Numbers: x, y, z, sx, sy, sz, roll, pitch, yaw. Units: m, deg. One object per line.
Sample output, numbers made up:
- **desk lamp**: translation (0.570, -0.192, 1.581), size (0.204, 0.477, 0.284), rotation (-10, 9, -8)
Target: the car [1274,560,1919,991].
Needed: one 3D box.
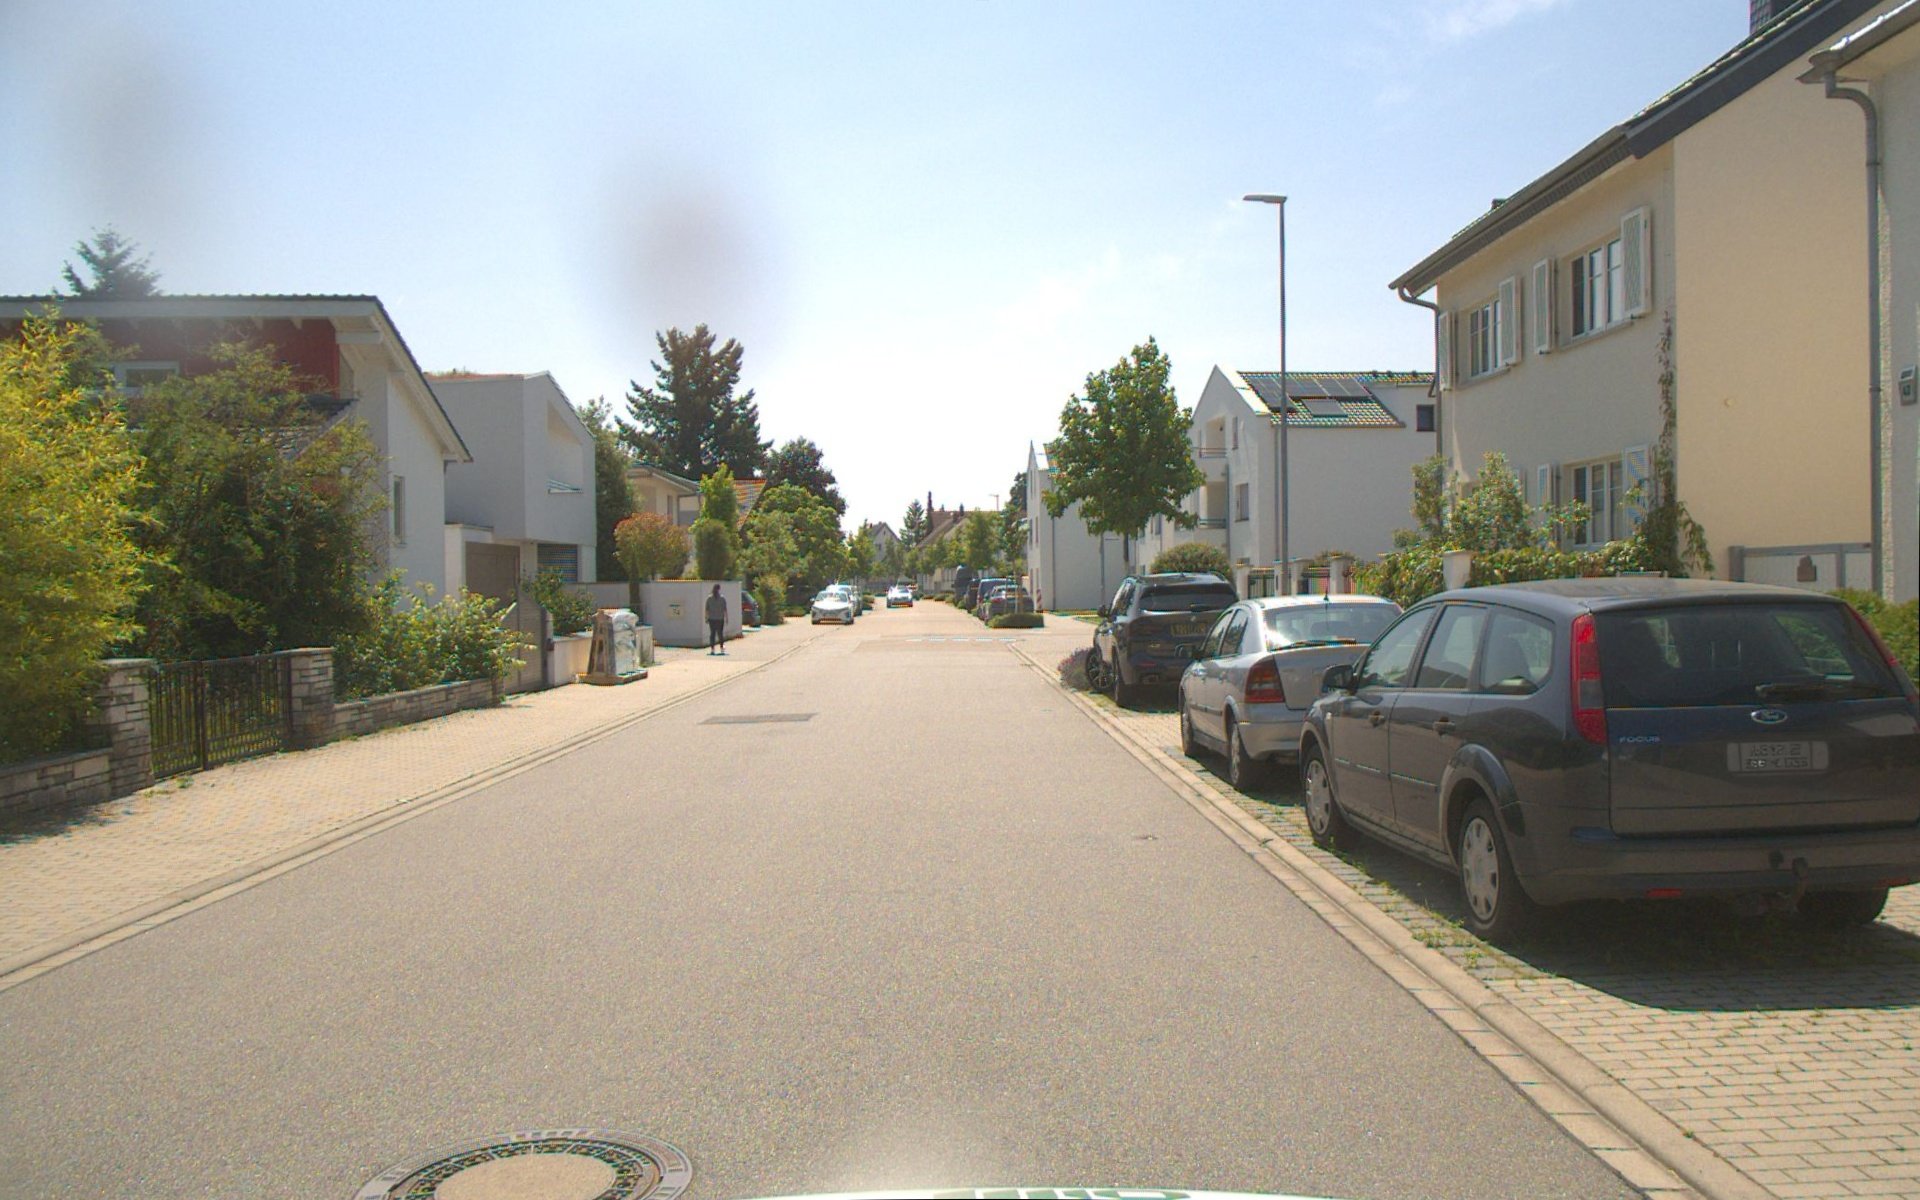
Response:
- **car**: translation (2.974, 0.626, 8.352), size (1.707, 1.560, 4.446), rotation (-1, 0, -3)

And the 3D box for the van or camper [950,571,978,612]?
- **van or camper**: translation (0.307, -0.636, 122.487), size (1.953, 2.993, 3.999), rotation (-1, 0, -1)

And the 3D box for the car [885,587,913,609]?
- **car**: translation (-4.481, -0.161, 122.552), size (1.815, 1.504, 4.700), rotation (-1, 0, 0)

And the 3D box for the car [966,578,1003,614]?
- **car**: translation (1.411, -0.252, 97.939), size (1.953, 1.981, 5.213), rotation (-2, 0, -1)

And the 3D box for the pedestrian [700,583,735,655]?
- **pedestrian**: translation (-6.091, 0.457, 41.591), size (0.700, 1.777, 0.960), rotation (-1, 0, -1)

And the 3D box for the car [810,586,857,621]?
- **car**: translation (-5.707, 0.134, 74.864), size (1.814, 1.514, 4.384), rotation (-1, 0, -1)

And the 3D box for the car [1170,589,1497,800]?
- **car**: translation (2.931, 0.661, 13.881), size (1.777, 1.445, 4.093), rotation (-1, 1, 0)

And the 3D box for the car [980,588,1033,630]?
- **car**: translation (1.846, 0.330, 66.584), size (1.738, 1.623, 4.276), rotation (-1, 0, -3)

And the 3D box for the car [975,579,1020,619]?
- **car**: translation (1.858, -0.044, 83.337), size (2.056, 1.915, 4.842), rotation (-1, 0, 0)

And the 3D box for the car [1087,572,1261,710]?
- **car**: translation (2.854, 0.474, 23.020), size (1.777, 1.685, 4.564), rotation (-1, 1, 0)

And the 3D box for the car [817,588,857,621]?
- **car**: translation (-6.640, 0.226, 89.787), size (1.888, 1.716, 4.497), rotation (-1, 0, -1)

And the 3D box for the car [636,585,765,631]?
- **car**: translation (-9.460, 0.280, 60.501), size (4.336, 1.499, 1.851), rotation (2, 0, 3)

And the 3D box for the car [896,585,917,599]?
- **car**: translation (-5.413, -0.830, 168.889), size (1.952, 1.455, 4.000), rotation (-1, 0, 0)
